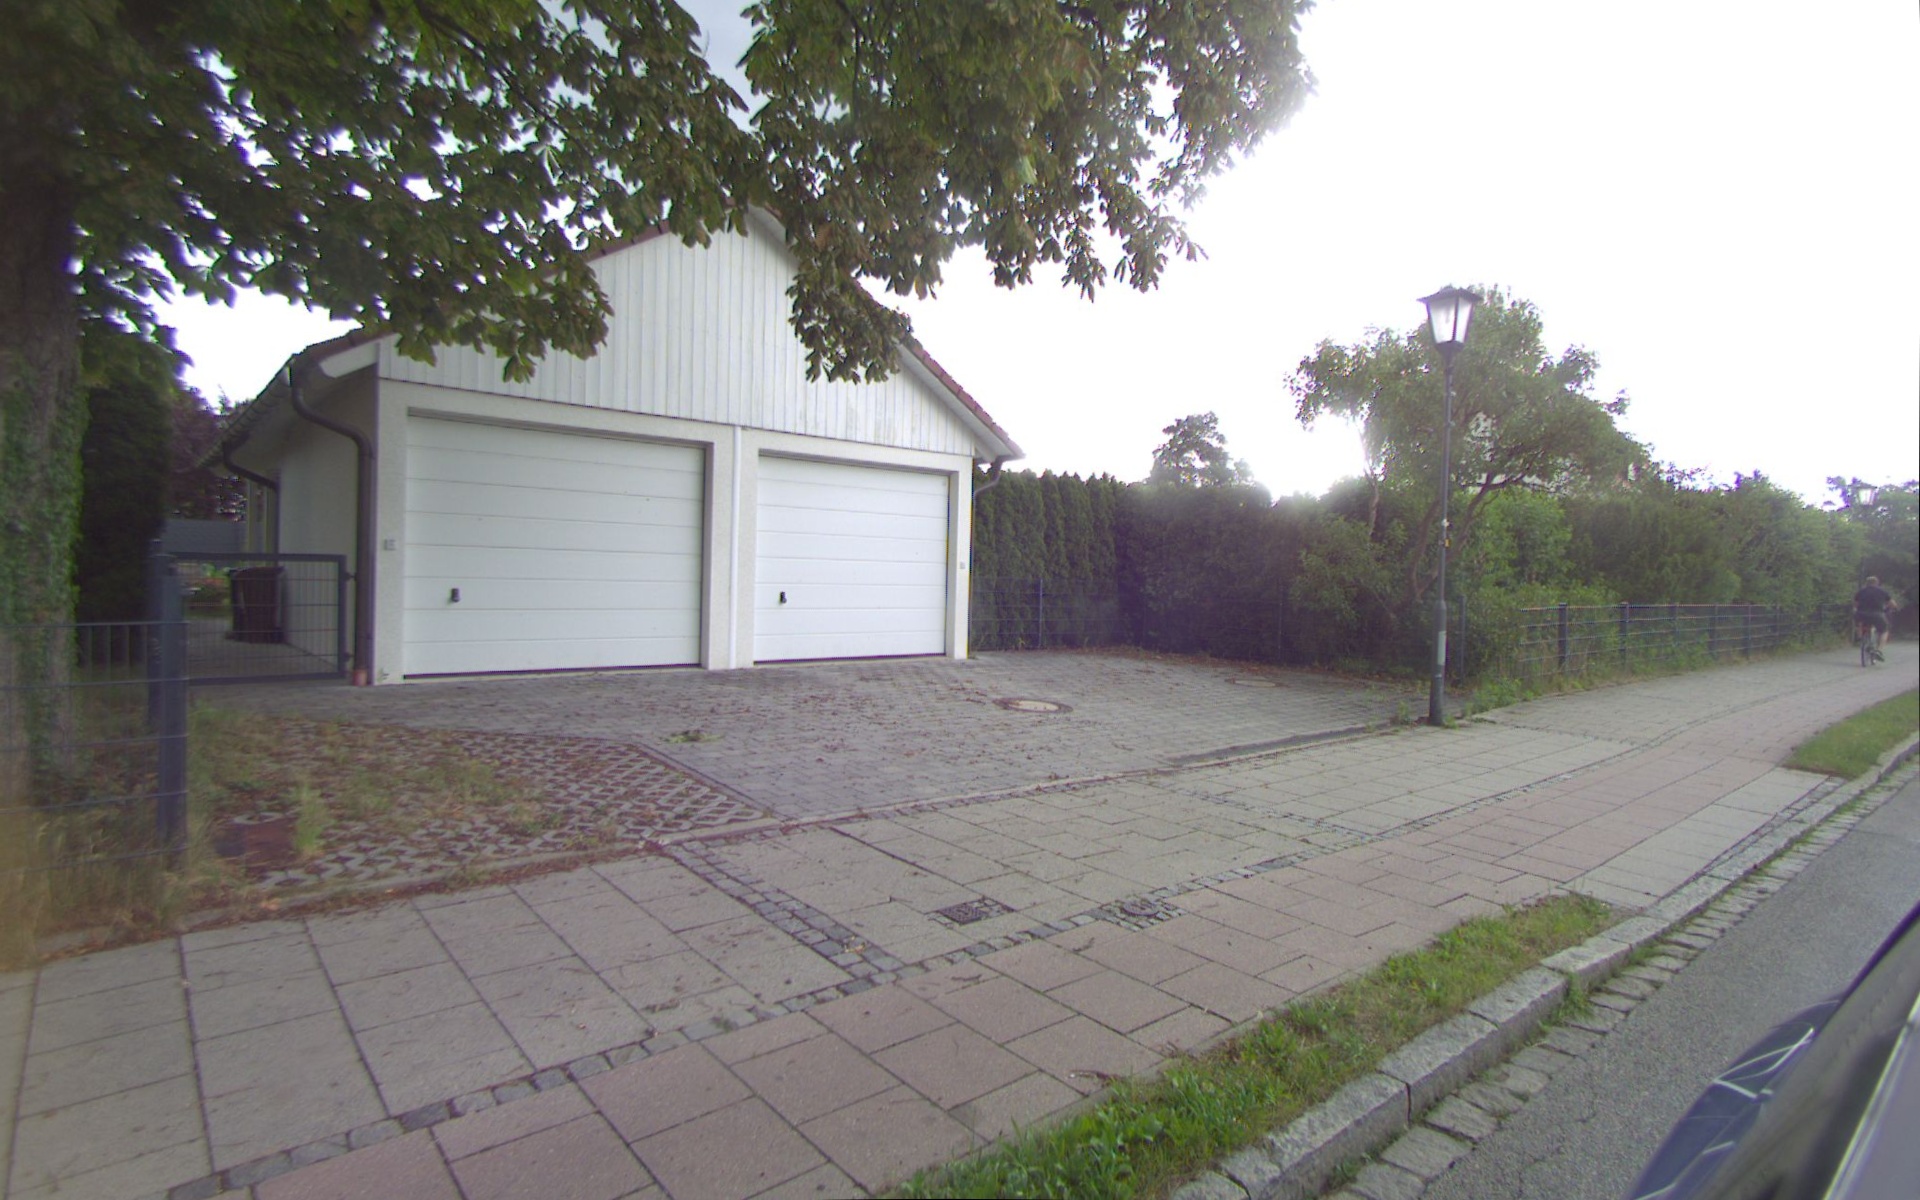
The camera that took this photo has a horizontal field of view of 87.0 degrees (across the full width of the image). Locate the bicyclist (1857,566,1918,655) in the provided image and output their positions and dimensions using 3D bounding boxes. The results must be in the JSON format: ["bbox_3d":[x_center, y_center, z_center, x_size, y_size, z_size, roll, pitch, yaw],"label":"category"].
[{"bbox_3d":[17.753,0.186,19.374,0.875,1.653,0.738,0,1,-40],"label":"bicyclist"}]

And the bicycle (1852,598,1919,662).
[{"bbox_3d":[17.718,0.544,19.306,1.812,1.157,0.766,0,1,-39],"label":"bicycle"}]
